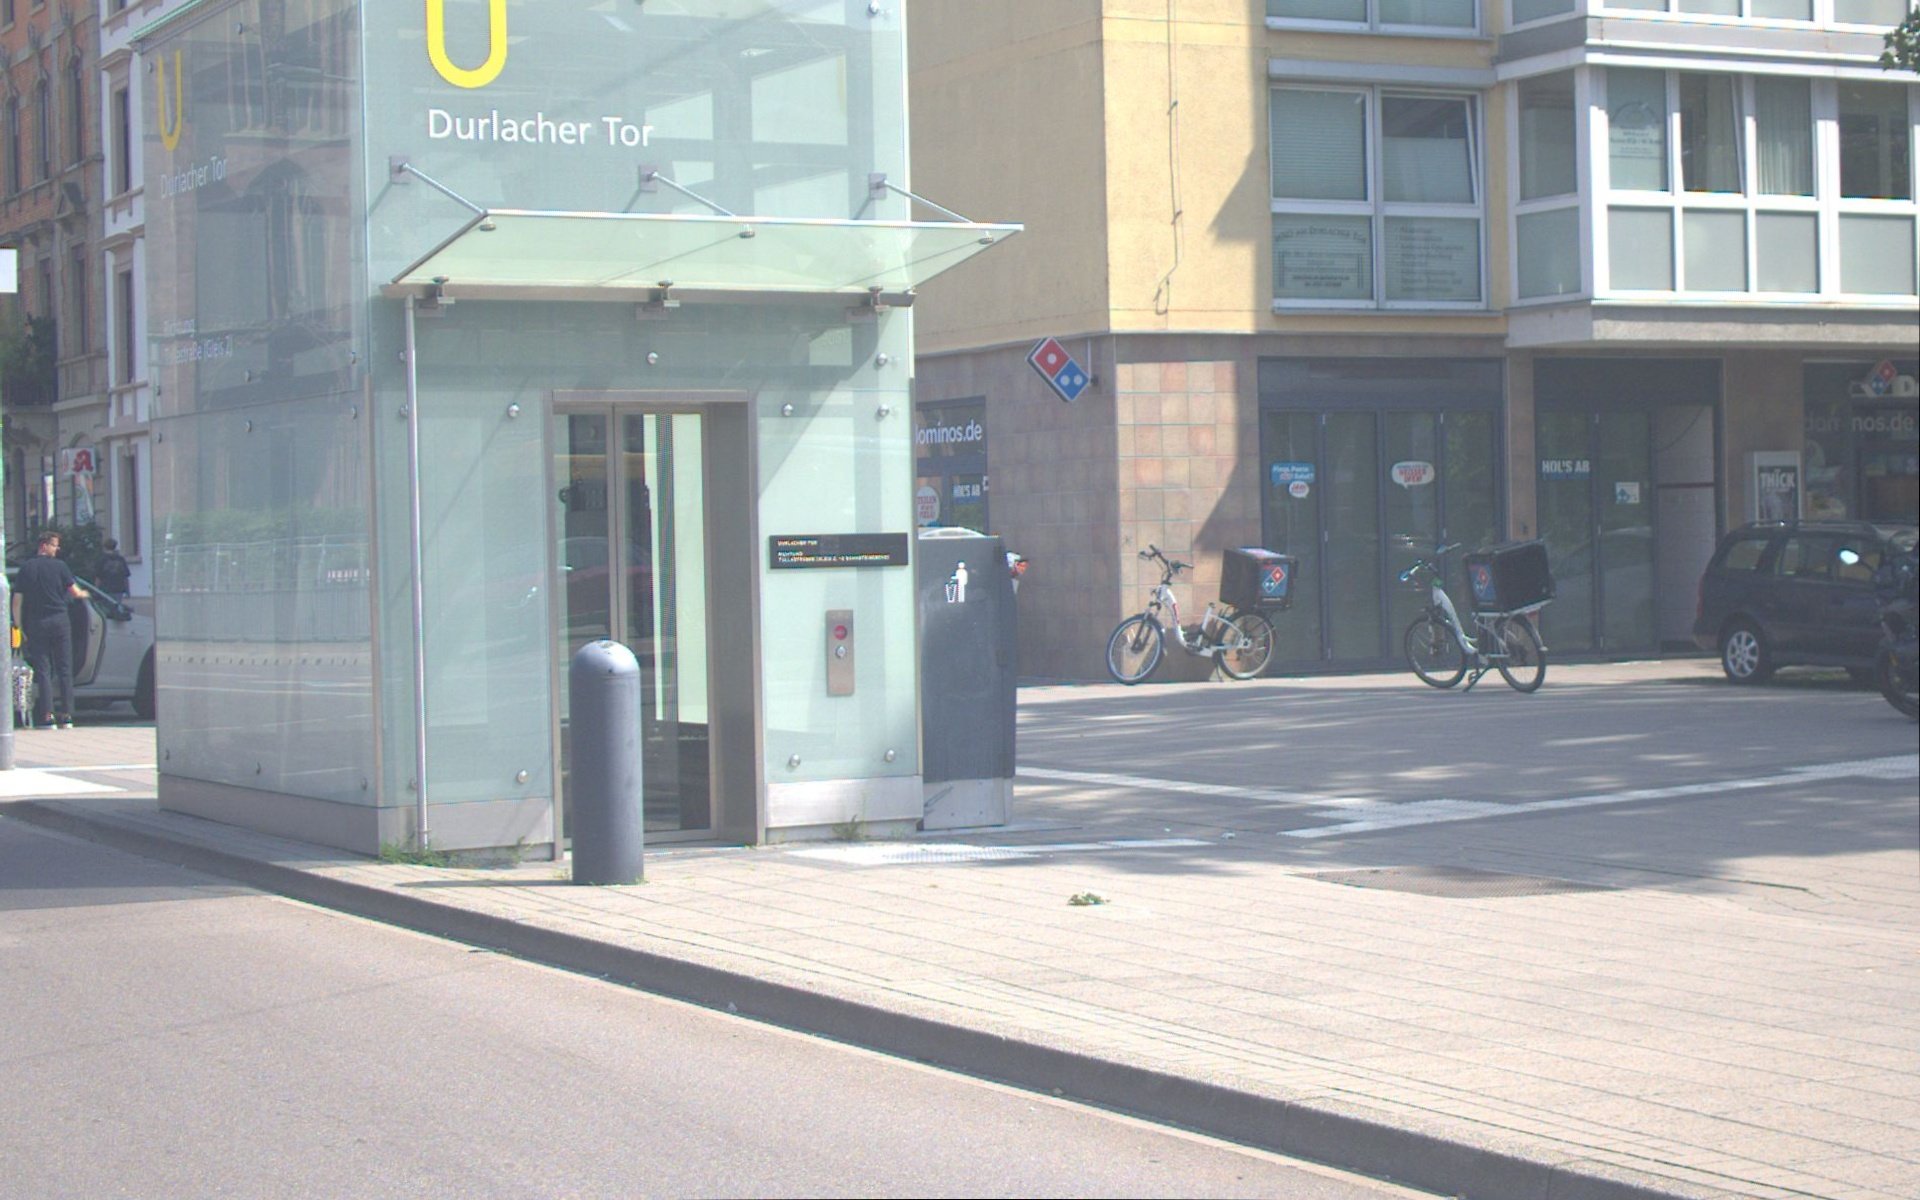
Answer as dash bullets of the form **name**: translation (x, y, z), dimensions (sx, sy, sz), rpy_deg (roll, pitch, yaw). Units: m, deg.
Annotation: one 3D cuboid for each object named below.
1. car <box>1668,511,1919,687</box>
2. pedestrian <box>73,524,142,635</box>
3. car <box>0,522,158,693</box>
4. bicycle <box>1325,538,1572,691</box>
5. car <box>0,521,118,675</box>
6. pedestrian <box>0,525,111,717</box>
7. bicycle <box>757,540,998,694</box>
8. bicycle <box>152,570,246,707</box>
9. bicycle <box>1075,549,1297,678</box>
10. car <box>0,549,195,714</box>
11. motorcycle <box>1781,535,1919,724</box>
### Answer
- **car**: translation (8.398, -0.041, 30.191), dimensions (1.900, 1.465, 4.247), rpy_deg (-2, 2, -30)
- **pedestrian**: translation (-14.471, -0.349, 58.375), dimensions (0.841, 1.839, 0.686), rpy_deg (-4, 2, -36)
- **car**: translation (-10.339, 0.082, 35.212), dimensions (1.982, 1.681, 4.388), rpy_deg (-1, 2, 21)
- **bicycle**: translation (4.136, 0.103, 29.306), dimensions (0.792, 1.234, 2.435), rpy_deg (-2, 1, -28)
- **car**: translation (-11.738, -0.001, 38.760), dimensions (2.039, 1.708, 4.661), rpy_deg (-1, 1, 21)
- **pedestrian**: translation (-8.399, 0.178, 31.135), dimensions (0.903, 1.698, 1.036), rpy_deg (0, 0, 36)
- **bicycle**: translation (-0.770, 0.136, 34.101), dimensions (0.902, 1.400, 3.359), rpy_deg (-1, 2, 26)
- **bicycle**: translation (-7.458, 0.372, 33.651), dimensions (0.473, 1.292, 1.792), rpy_deg (-2, 1, -25)
- **bicycle**: translation (2.109, 0.114, 32.112), dimensions (1.963, 1.139, 0.597), rpy_deg (-1, 1, -12)
- **car**: translation (-9.145, 0.267, 32.291), dimensions (1.804, 1.495, 3.780), rpy_deg (1, 1, 27)
- **motorcycle**: translation (6.071, 0.166, 21.482), dimensions (0.909, 1.133, 2.113), rpy_deg (-1, 1, -15)
